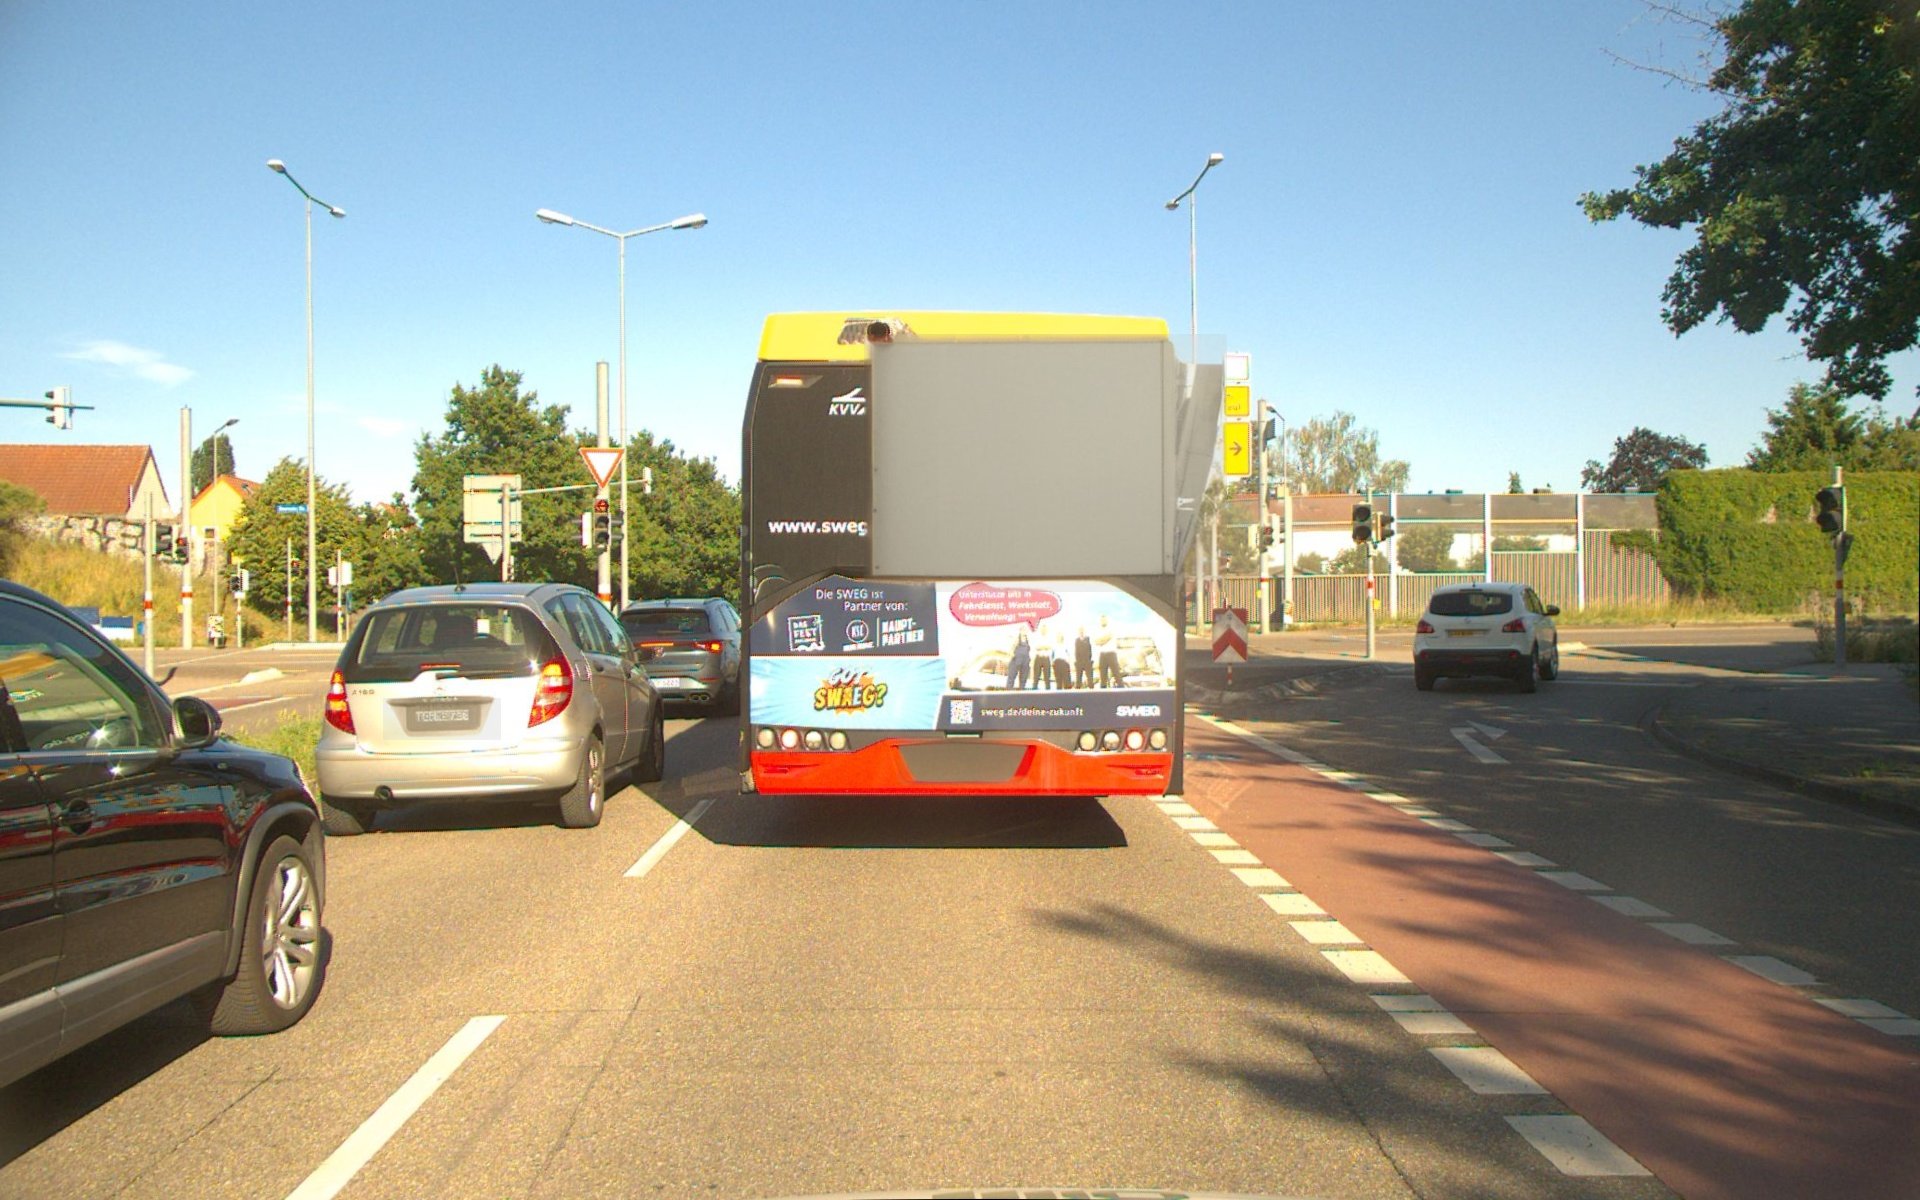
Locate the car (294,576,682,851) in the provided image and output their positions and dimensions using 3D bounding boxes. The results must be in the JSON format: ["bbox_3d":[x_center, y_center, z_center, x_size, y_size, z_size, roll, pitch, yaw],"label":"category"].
[{"bbox_3d":[-3.222,0.683,12.115,1.725,1.617,3.999,-2,0,-1],"label":"car"}]

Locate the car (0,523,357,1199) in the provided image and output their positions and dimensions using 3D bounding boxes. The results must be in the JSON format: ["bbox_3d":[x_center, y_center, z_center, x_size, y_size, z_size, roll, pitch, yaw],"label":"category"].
[{"bbox_3d":[-3.149,0.687,4.288,1.736,1.682,3.999,-2,0,-1],"label":"car"}]

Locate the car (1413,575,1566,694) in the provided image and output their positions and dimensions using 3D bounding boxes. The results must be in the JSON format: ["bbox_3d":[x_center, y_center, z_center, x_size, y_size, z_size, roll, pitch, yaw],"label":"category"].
[{"bbox_3d":[8.371,0.473,25.940,1.684,1.635,4.064,-1,1,26],"label":"car"}]

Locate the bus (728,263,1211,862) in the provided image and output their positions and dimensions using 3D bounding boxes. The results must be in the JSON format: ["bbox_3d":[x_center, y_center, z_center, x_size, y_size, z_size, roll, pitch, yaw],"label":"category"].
[{"bbox_3d":[0.016,-0.252,14.878,2.589,3.222,11.860,0,0,0],"label":"bus"}]

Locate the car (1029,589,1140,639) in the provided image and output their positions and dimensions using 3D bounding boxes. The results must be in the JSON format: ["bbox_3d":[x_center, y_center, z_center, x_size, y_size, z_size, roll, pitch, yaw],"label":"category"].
[{"bbox_3d":[4.865,0.526,64.442,3.905,1.847,1.923,1,0,21],"label":"car"}]

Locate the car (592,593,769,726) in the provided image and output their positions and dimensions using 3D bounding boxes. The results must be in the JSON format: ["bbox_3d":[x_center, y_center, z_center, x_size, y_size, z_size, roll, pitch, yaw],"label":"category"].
[{"bbox_3d":[-3.455,0.679,21.043,1.658,1.484,3.750,-2,0,-1],"label":"car"}]
